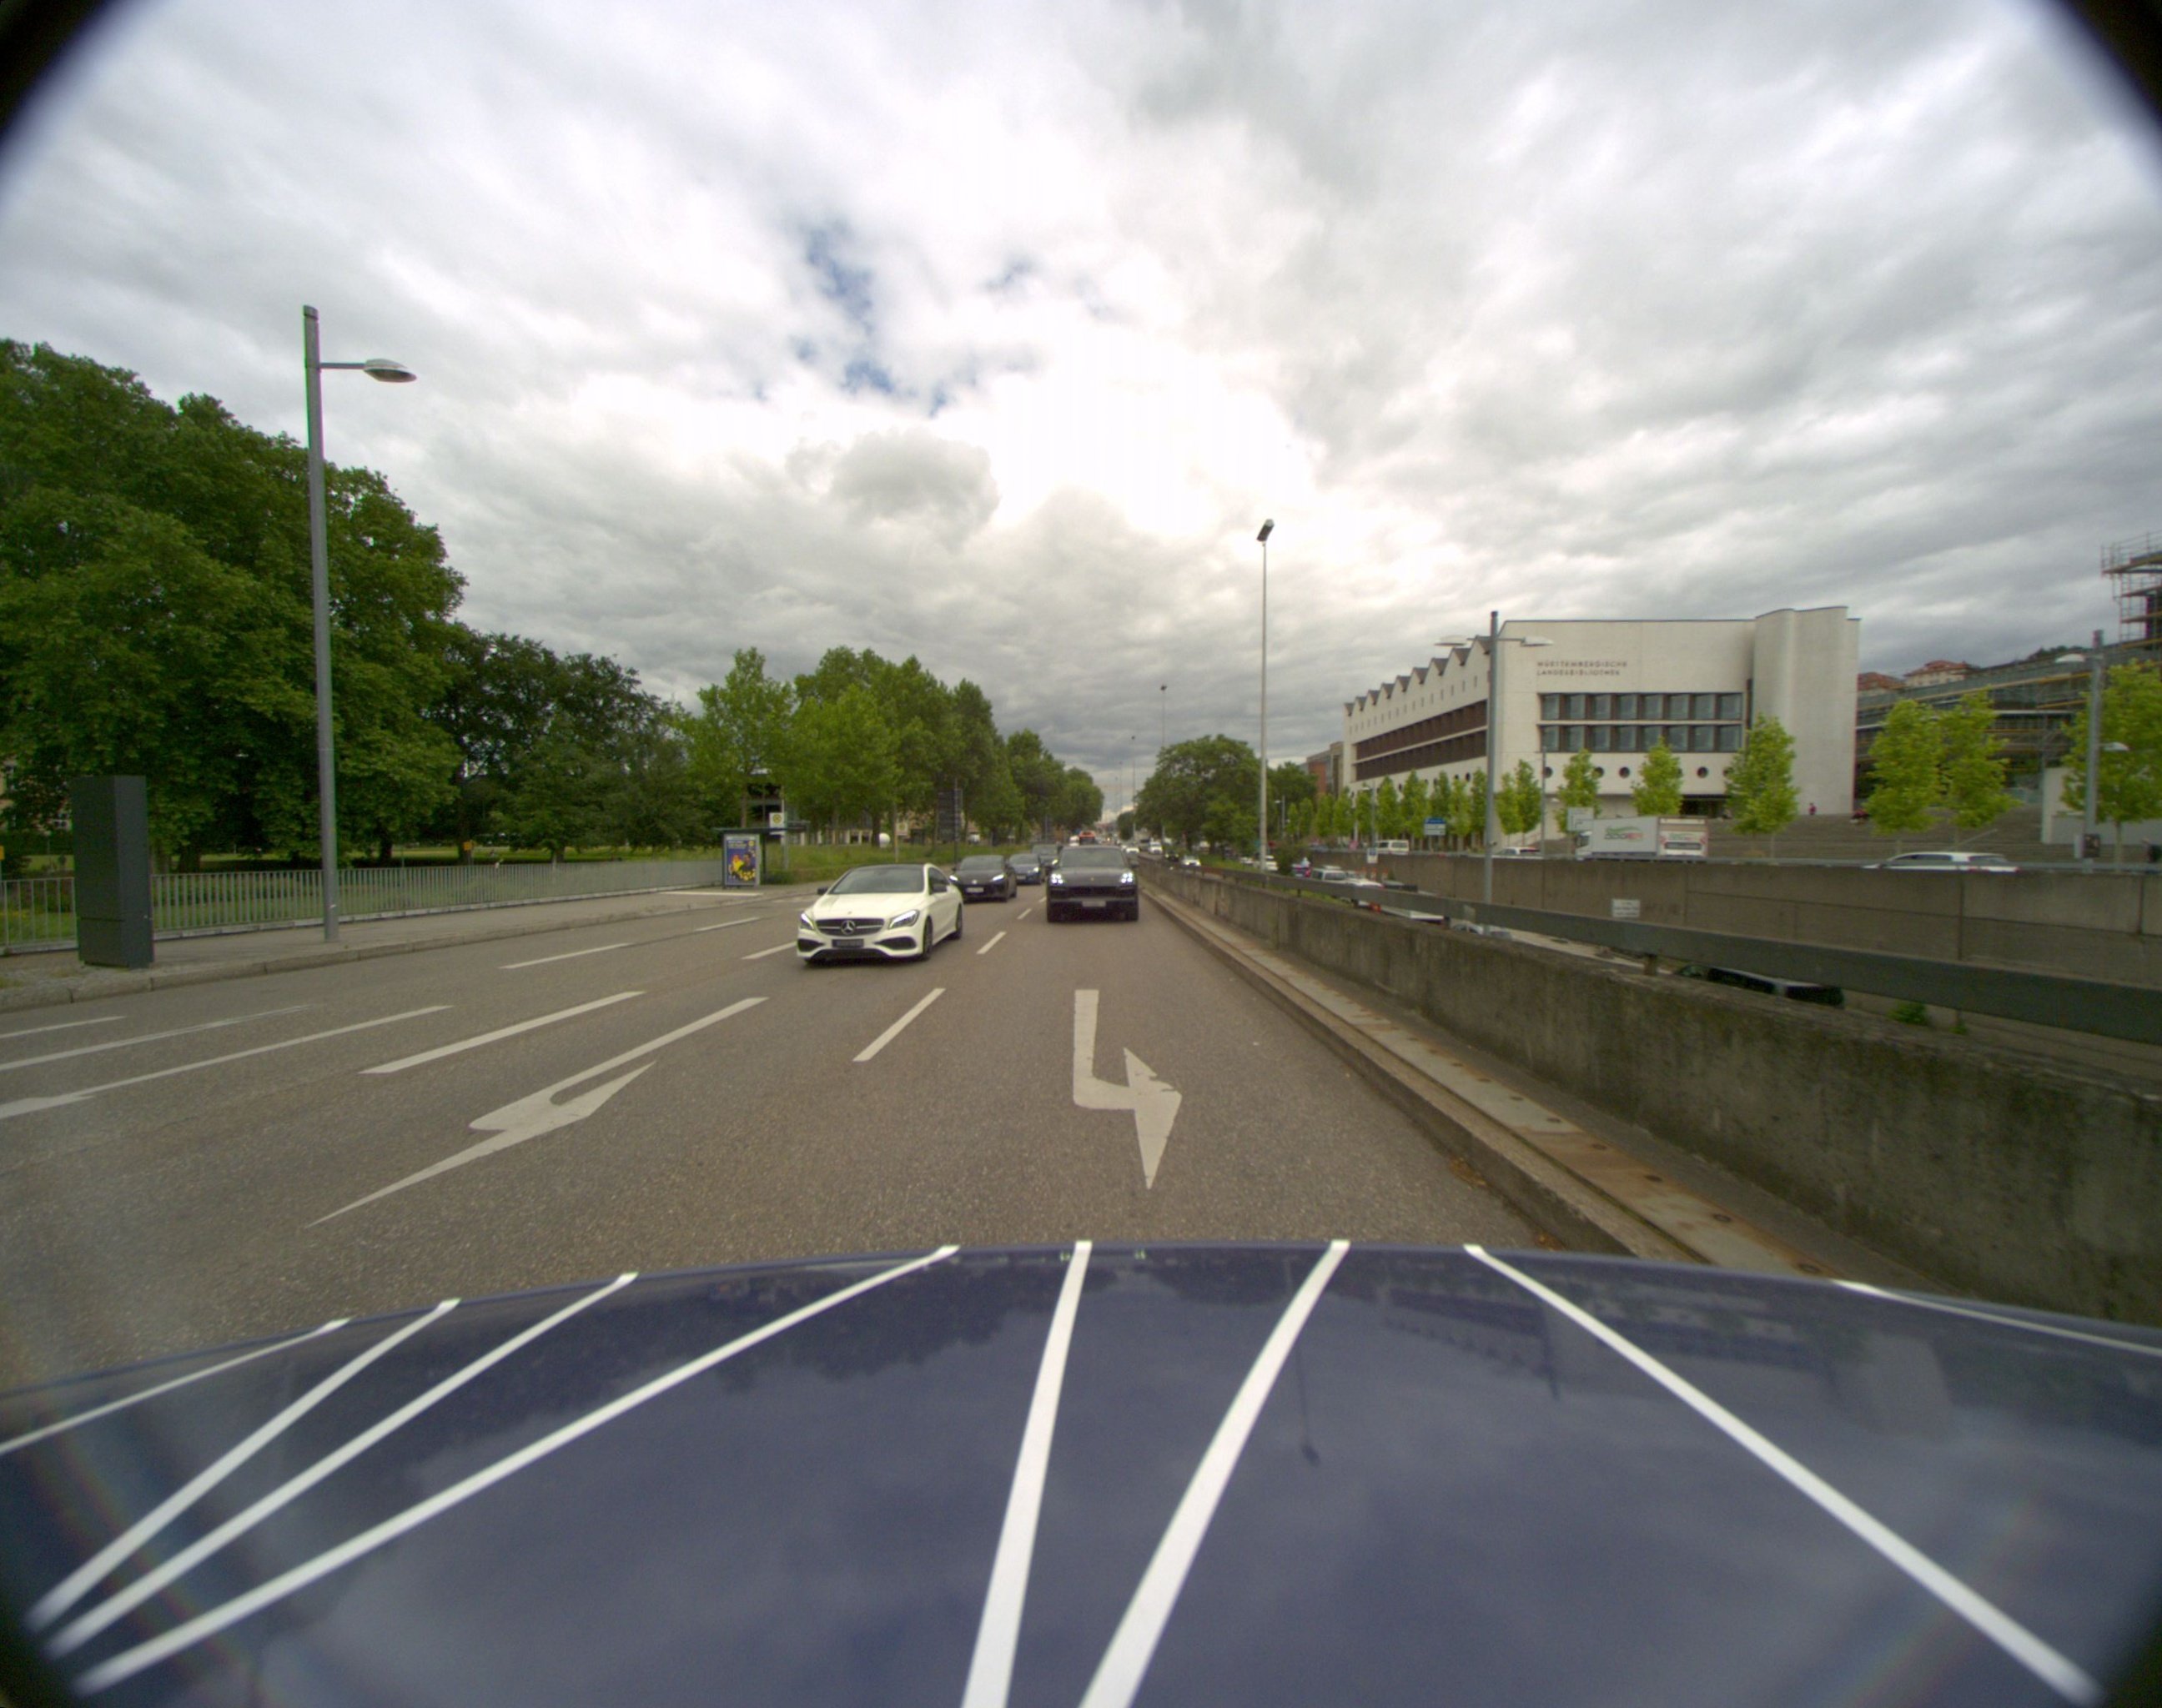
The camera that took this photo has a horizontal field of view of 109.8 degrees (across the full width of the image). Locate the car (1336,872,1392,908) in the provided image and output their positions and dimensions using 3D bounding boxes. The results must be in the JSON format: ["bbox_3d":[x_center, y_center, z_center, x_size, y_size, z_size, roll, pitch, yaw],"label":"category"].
[{"bbox_3d":[17.797,2.218,48.005,1.998,2.002,4.000,3,0,1],"label":"car"}]

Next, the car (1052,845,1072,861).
[{"bbox_3d":[-1.695,-0.119,69.081,1.565,1.409,3.619,-1,0,1],"label":"car"}]

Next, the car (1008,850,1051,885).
[{"bbox_3d":[-2.375,0.587,35.887,1.573,1.528,4.001,-1,1,2],"label":"car"}]

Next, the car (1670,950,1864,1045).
[{"bbox_3d":[20.169,4.149,22.635,1.998,1.944,4.229,-2,1,1],"label":"car"}]

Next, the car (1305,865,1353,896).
[{"bbox_3d":[17.841,1.838,54.839,1.998,2.002,4.332,3,0,1],"label":"car"}]

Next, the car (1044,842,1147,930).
[{"bbox_3d":[0.313,0.589,16.912,1.937,1.668,4.679,-1,1,1],"label":"car"}]

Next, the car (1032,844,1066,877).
[{"bbox_3d":[-1.903,0.359,46.112,1.723,1.851,4.430,-1,1,1],"label":"car"}]

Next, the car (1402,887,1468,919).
[{"bbox_3d":[20.806,2.838,44.827,1.998,1.543,3.999,-2,1,1],"label":"car"}]

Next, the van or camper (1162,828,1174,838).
[{"bbox_3d":[17.786,-4.236,154.765,2.036,2.002,4.000,-1,0,1],"label":"van or camper"}]

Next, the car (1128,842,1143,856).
[{"bbox_3d":[7.891,-0.756,110.212,1.998,2.002,4.000,0,0,1],"label":"car"}]

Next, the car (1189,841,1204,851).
[{"bbox_3d":[17.451,-1.150,114.788,1.675,1.477,3.361,-1,0,1],"label":"car"}]

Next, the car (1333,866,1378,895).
[{"bbox_3d":[21.481,2.057,59.636,1.998,2.002,4.000,3,0,1],"label":"car"}]

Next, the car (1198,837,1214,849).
[{"bbox_3d":[20.689,-1.817,125.685,1.998,2.002,3.999,-2,1,0],"label":"car"}]

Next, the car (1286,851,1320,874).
[{"bbox_3d":[21.217,0.804,72.693,1.998,2.002,4.000,3,0,1],"label":"car"}]

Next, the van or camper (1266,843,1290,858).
[{"bbox_3d":[26.474,-0.467,102.429,1.999,2.002,4.556,-1,0,-1],"label":"van or camper"}]

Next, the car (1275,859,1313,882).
[{"bbox_3d":[17.843,1.354,63.778,1.998,1.733,4.281,3,0,1],"label":"car"}]

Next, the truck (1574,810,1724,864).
[{"bbox_3d":[31.832,-0.861,43.057,3.239,2.771,7.254,-1,0,2],"label":"truck"}]

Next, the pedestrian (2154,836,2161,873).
[{"bbox_3d":[45.369,0.021,31.765,0.381,1.513,0.461,-1,1,-6],"label":"pedestrian"}]

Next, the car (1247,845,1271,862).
[{"bbox_3d":[21.890,-0.113,93.555,1.998,2.002,4.655,-1,0,1],"label":"car"}]

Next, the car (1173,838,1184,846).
[{"bbox_3d":[17.635,-2.194,137.306,1.675,1.477,3.361,-1,0,1],"label":"car"}]

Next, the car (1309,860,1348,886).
[{"bbox_3d":[21.299,1.611,65.499,1.998,2.002,4.000,3,0,1],"label":"car"}]

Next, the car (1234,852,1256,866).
[{"bbox_3d":[17.941,0.570,83.165,1.675,1.477,3.361,0,1,1],"label":"car"}]

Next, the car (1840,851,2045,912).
[{"bbox_3d":[28.210,0.836,25.129,1.998,1.805,4.258,-1,0,1],"label":"car"}]

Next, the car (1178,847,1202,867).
[{"bbox_3d":[11.570,0.279,81.159,1.998,2.002,4.000,-1,0,1],"label":"car"}]

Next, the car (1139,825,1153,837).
[{"bbox_3d":[11.109,-3.873,130.076,1.997,2.002,4.002,-1,1,9],"label":"car"}]

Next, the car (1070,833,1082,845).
[{"bbox_3d":[-0.901,-2.616,134.648,1.998,2.002,3.999,-2,1,0],"label":"car"}]

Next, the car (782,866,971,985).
[{"bbox_3d":[-3.027,0.975,12.275,1.723,1.415,4.505,-1,1,1],"label":"car"}]

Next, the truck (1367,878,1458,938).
[{"bbox_3d":[17.456,2.763,40.379,2.324,2.675,5.979,-1,0,1],"label":"truck"}]

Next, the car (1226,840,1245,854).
[{"bbox_3d":[23.107,-1.068,113.803,1.998,2.002,4.000,3,0,1],"label":"car"}]

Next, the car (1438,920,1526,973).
[{"bbox_3d":[17.375,3.966,33.143,1.794,1.805,3.927,-1,0,0],"label":"car"}]

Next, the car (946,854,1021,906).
[{"bbox_3d":[-3.083,0.781,24.752,1.829,1.515,4.120,-1,0,1],"label":"car"}]

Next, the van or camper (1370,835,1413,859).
[{"bbox_3d":[27.734,-0.603,67.969,1.998,2.002,4.557,-1,0,1],"label":"van or camper"}]

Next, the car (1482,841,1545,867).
[{"bbox_3d":[27.789,0.003,48.982,1.723,1.565,4.271,-1,0,2],"label":"car"}]

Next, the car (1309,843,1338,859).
[{"bbox_3d":[27.575,-0.323,86.539,1.998,1.805,4.000,-1,0,1],"label":"car"}]

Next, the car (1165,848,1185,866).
[{"bbox_3d":[11.222,0.339,91.037,1.998,2.002,3.999,1,2,1],"label":"car"}]

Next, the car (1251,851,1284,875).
[{"bbox_3d":[18.030,0.831,73.702,1.998,2.119,4.852,3,0,1],"label":"car"}]

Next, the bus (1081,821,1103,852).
[{"bbox_3d":[1.600,-2.482,111.626,3.043,4.328,8.748,-1,1,0],"label":"bus"}]
